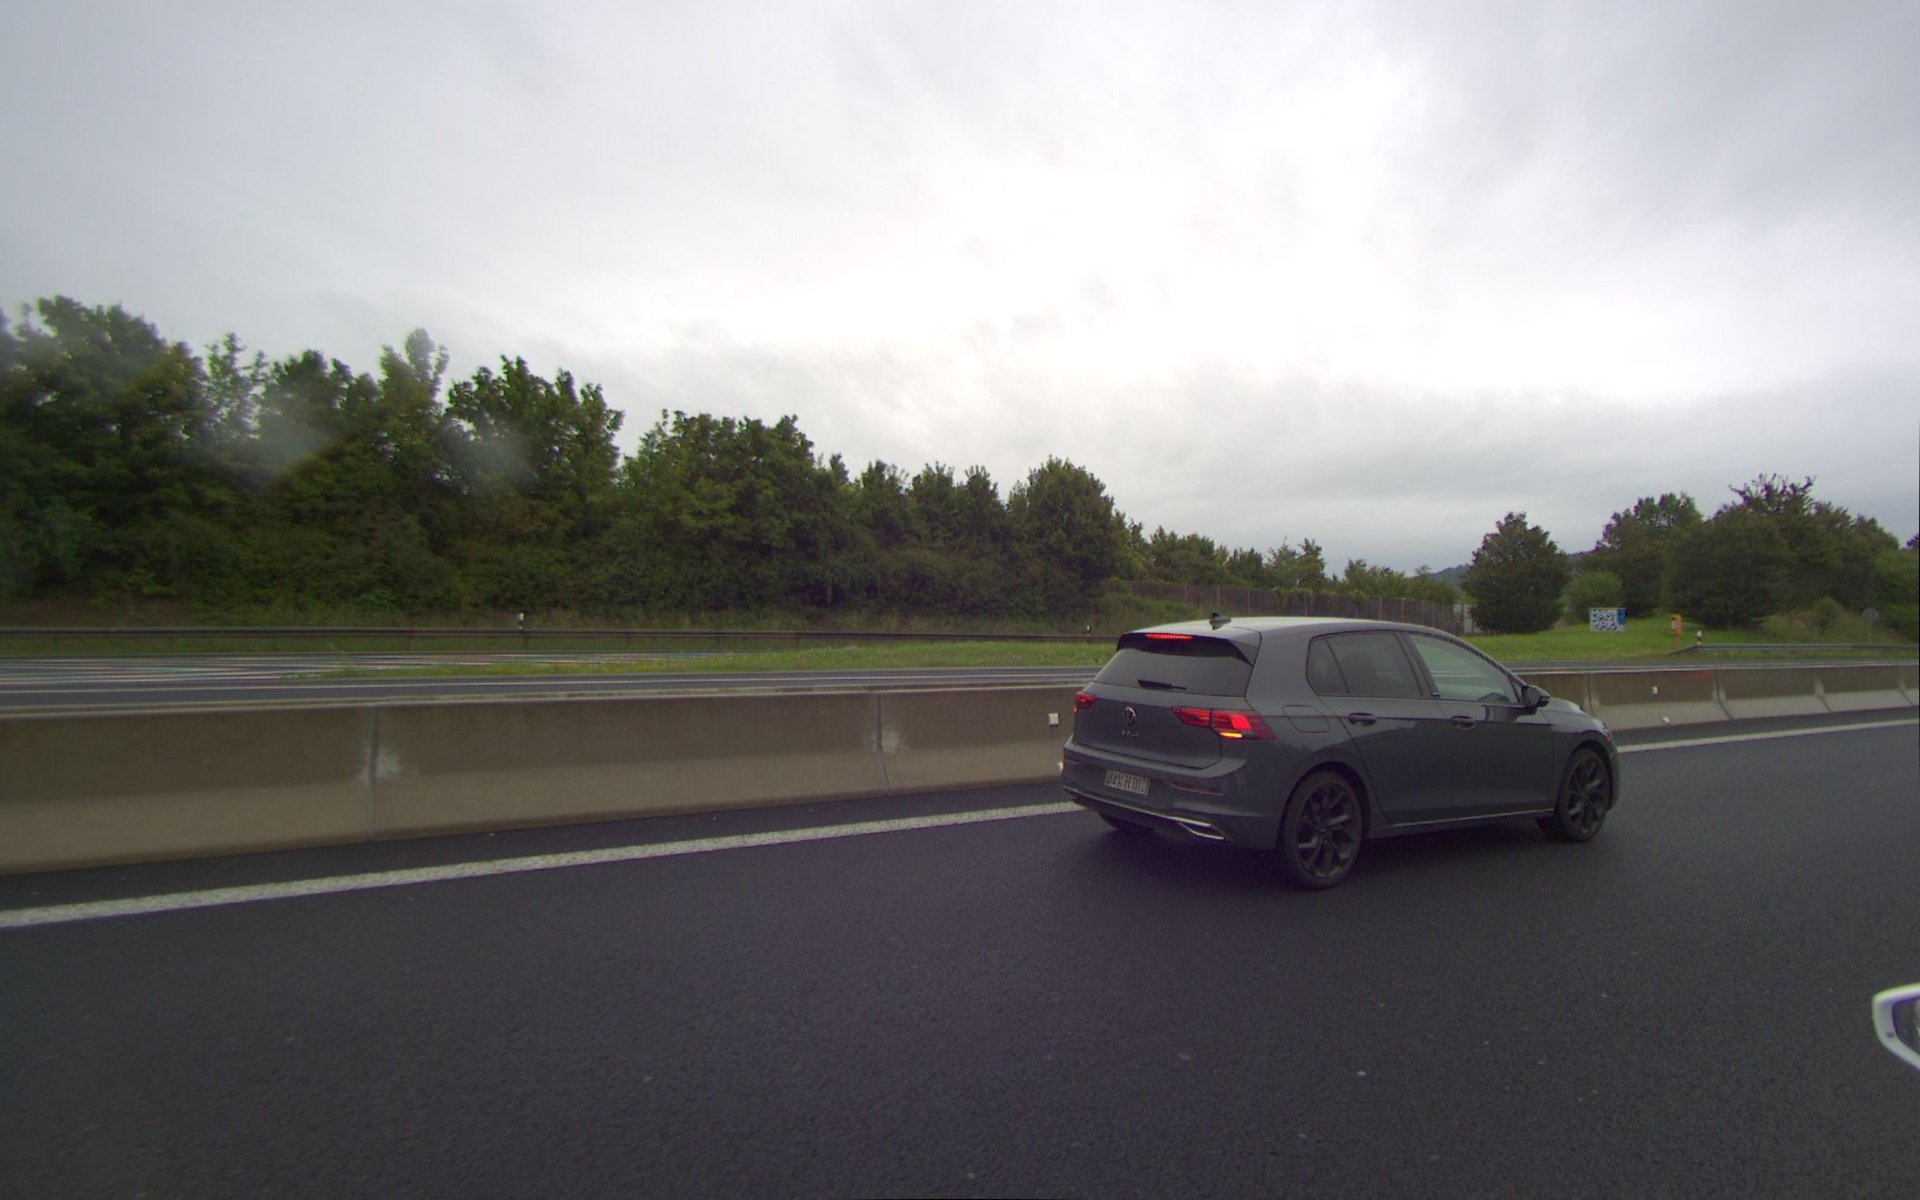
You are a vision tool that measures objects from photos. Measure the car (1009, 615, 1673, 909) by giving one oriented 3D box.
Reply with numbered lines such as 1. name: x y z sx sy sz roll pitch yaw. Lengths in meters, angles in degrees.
1. car: 2.689 0.837 6.837 4.406 1.424 1.891 1 -1 -30
